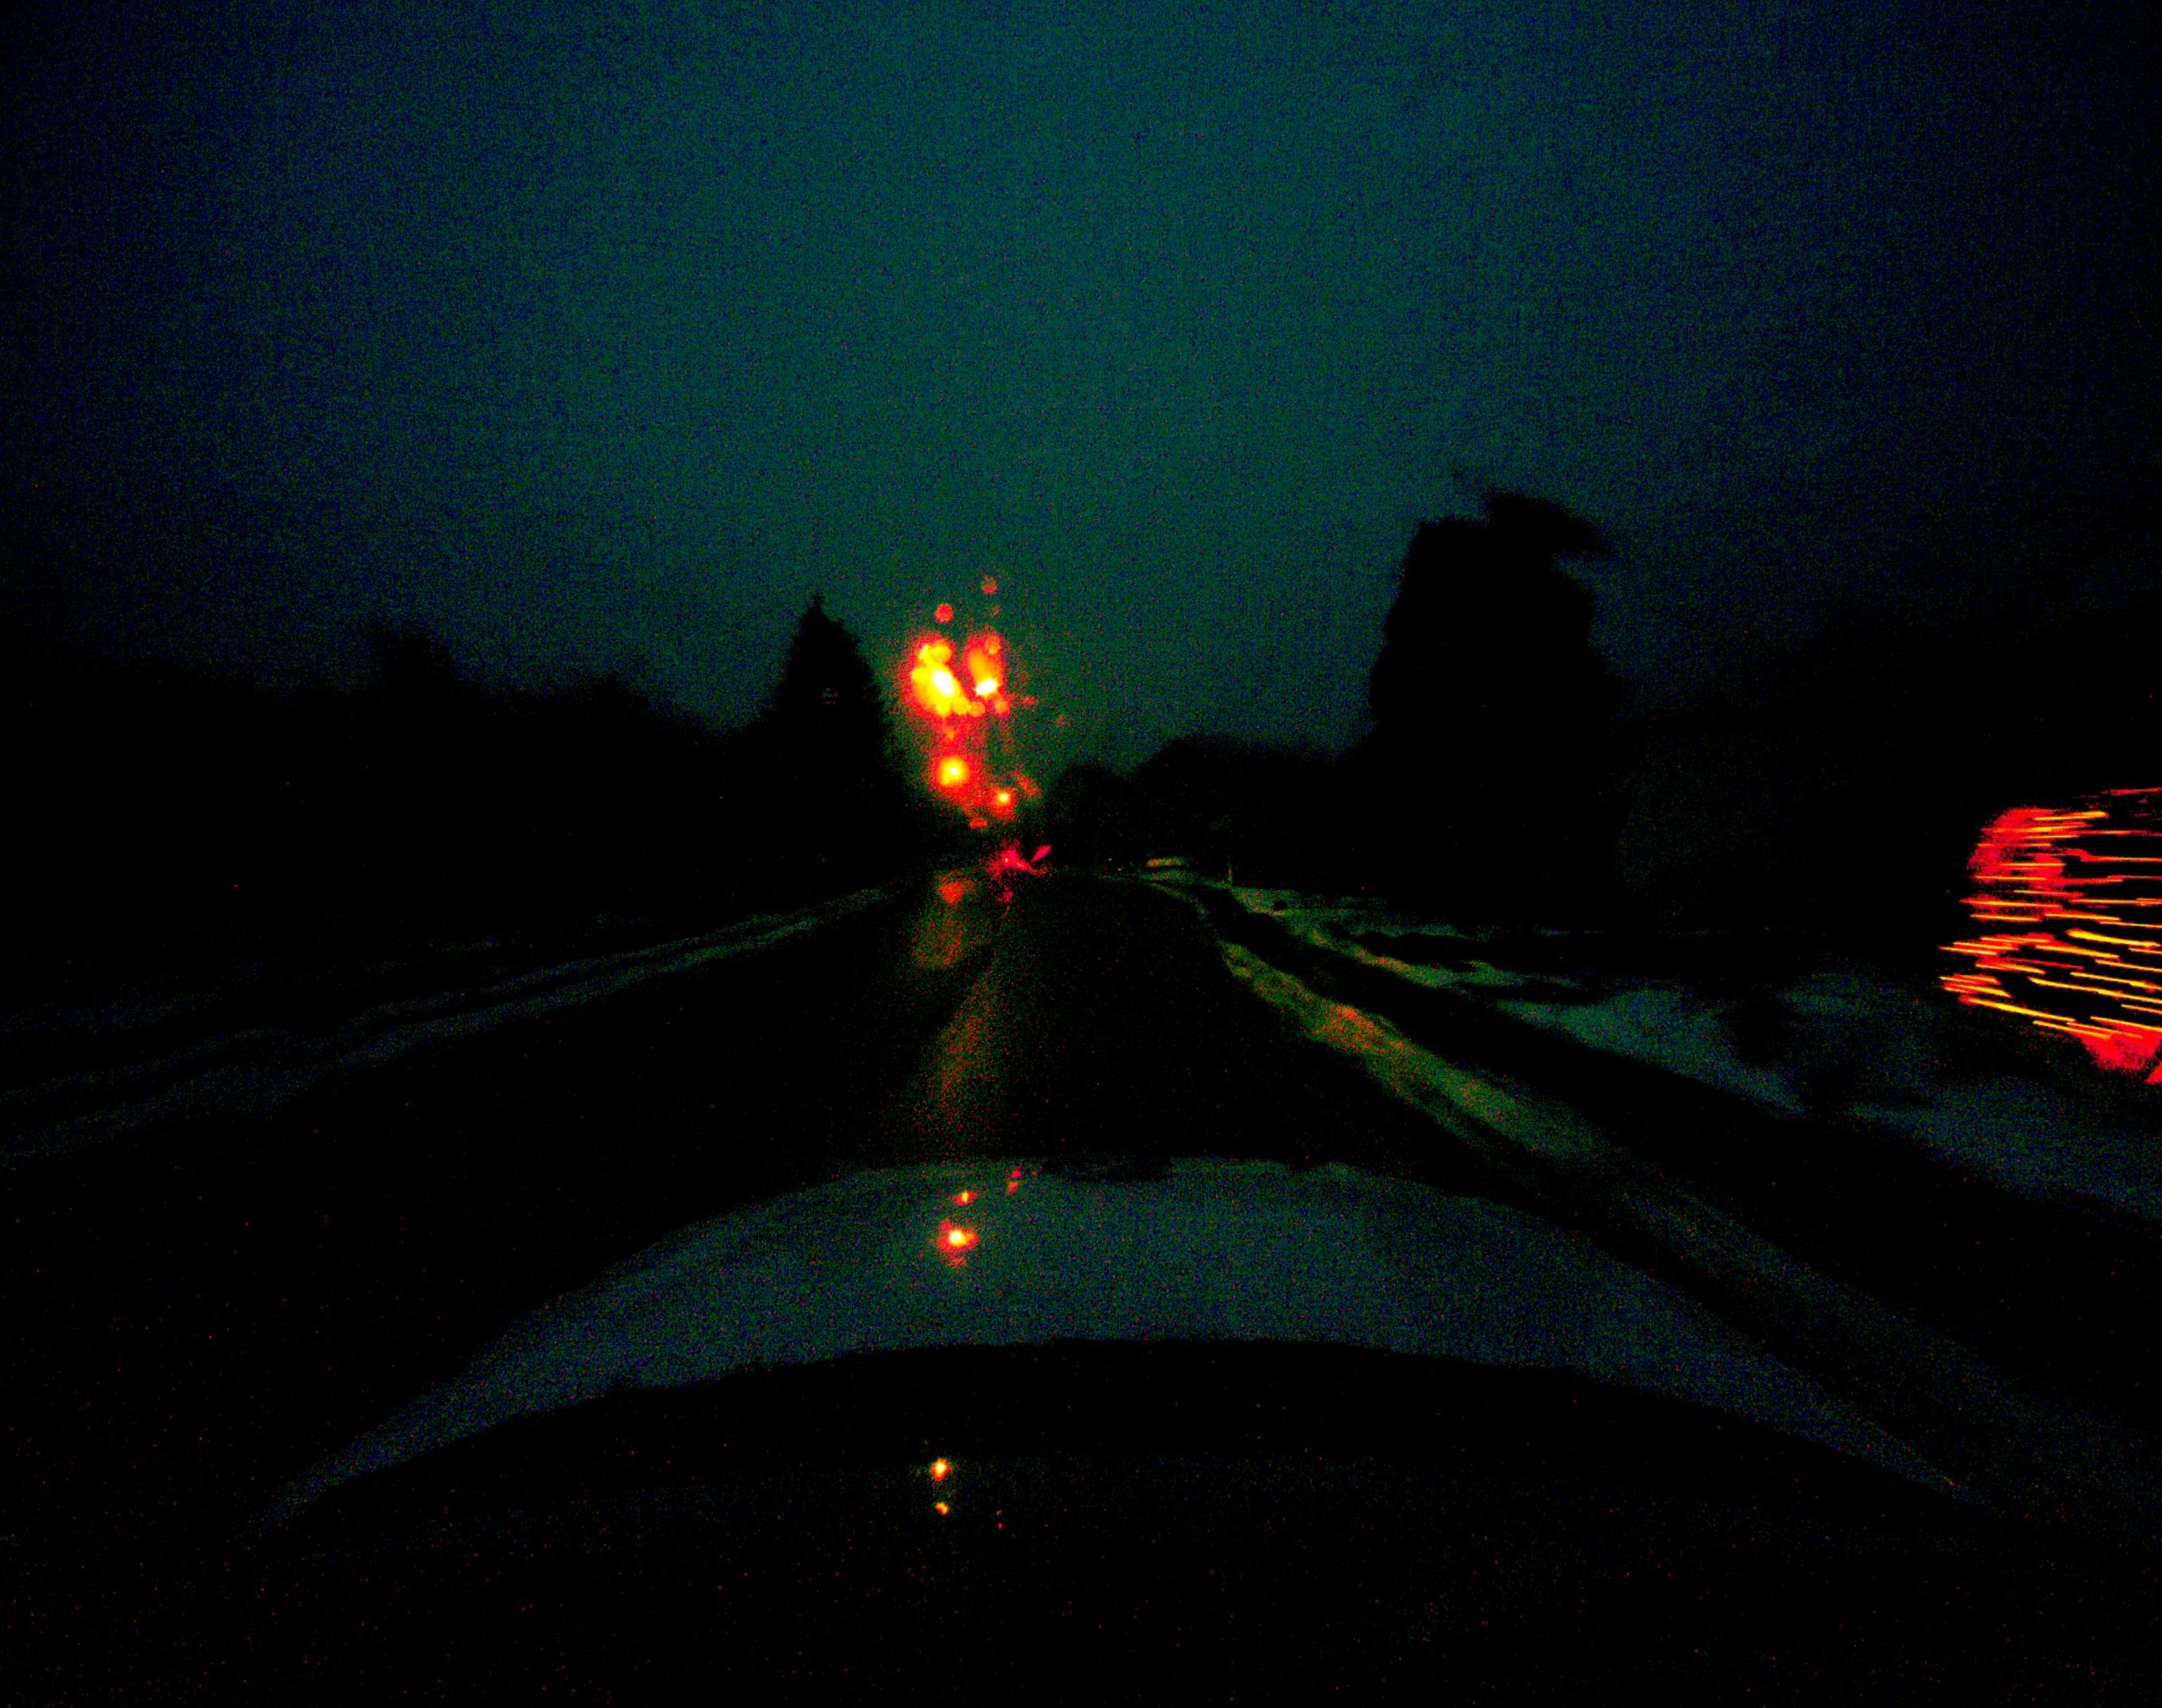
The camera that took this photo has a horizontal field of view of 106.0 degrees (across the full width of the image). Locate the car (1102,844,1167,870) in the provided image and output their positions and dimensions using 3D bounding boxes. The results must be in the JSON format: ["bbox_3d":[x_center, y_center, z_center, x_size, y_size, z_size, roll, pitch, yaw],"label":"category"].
[{"bbox_3d":[3.450,0.228,53.280,4.145,1.559,1.945,-1,-2,0],"label":"car"}]

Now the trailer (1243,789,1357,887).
[{"bbox_3d":[8.542,-0.557,32.362,2.870,3.560,5.054,0,-1,-5],"label":"trailer"}]

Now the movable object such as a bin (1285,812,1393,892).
[{"bbox_3d":[8.645,-0.041,27.744,2.378,2.469,4.517,0,-1,2],"label":"movable object such as a bin"}]

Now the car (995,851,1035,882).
[{"bbox_3d":[-4.080,0.783,49.619,1.994,1.737,3.863,-1,-2,-11],"label":"car"}]

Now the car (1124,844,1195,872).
[{"bbox_3d":[4.843,0.245,50.266,4.222,1.559,2.002,-2,-2,5],"label":"car"}]
